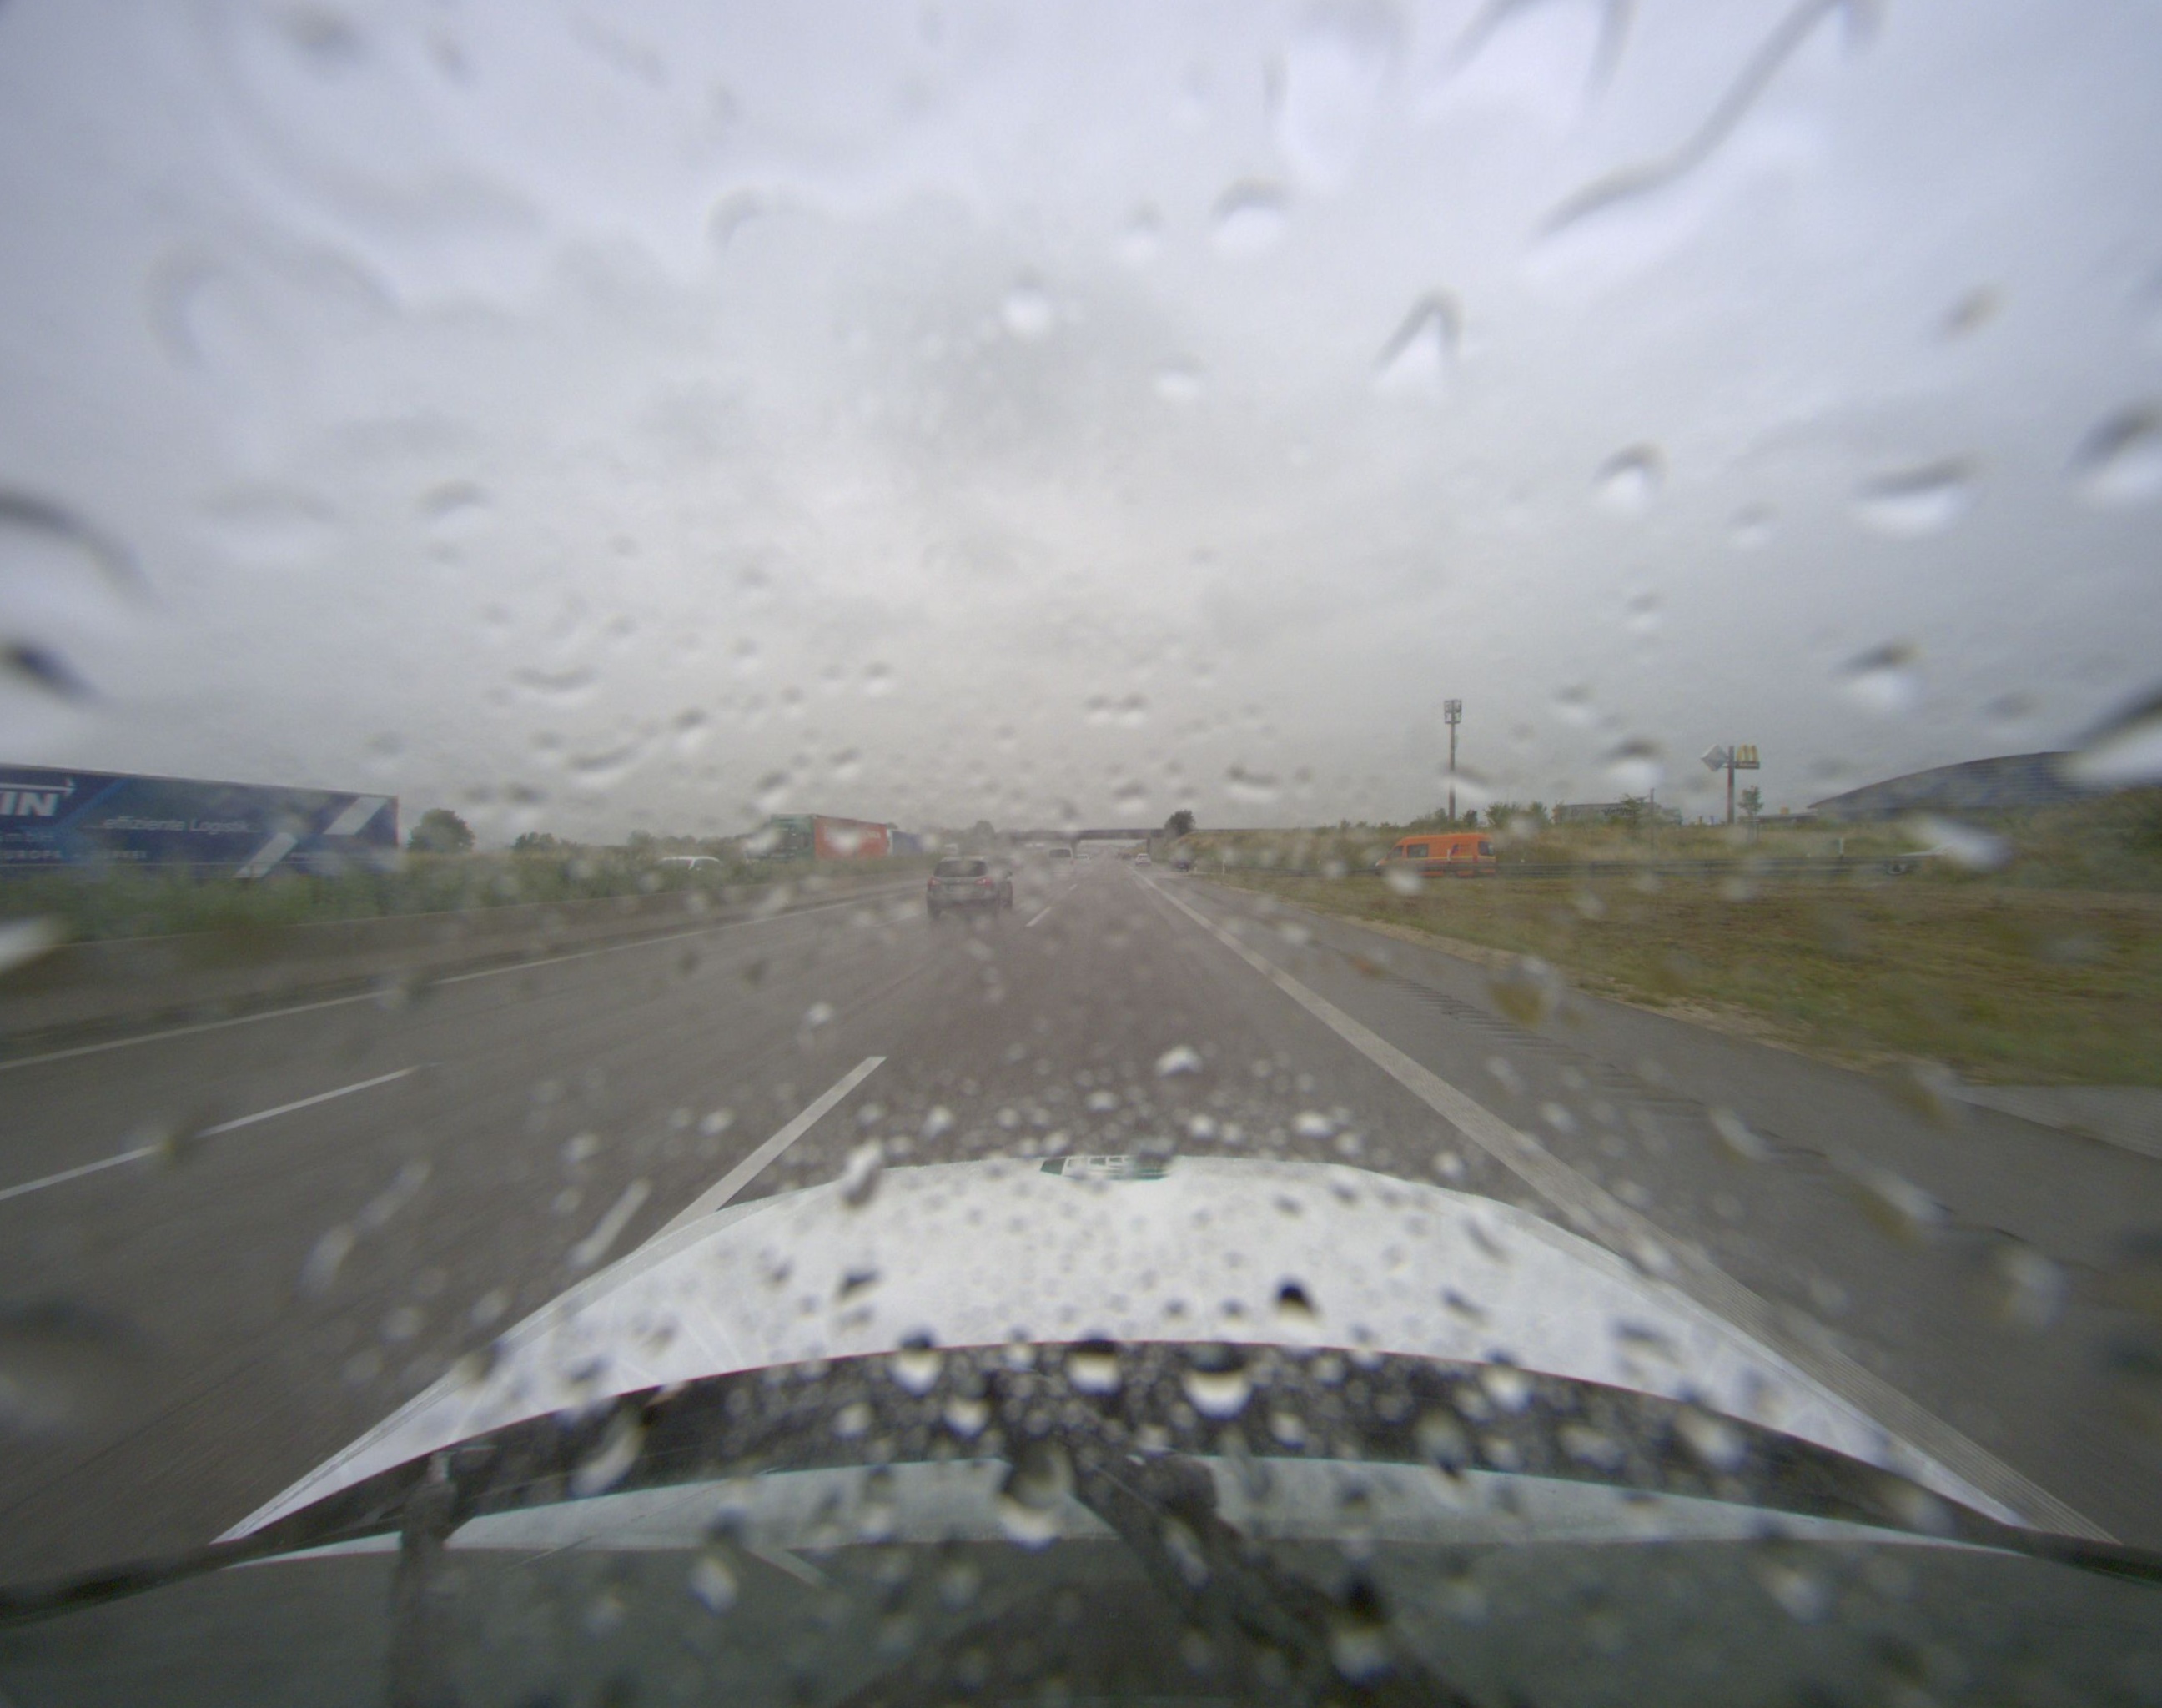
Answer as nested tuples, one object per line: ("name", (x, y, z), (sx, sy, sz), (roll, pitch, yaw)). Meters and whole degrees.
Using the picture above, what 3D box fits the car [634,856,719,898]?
("car", (-13.910, 0.774, 28.193), (1.391, 1.351, 3.089), (-1, -1, 0))

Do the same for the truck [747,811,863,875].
("truck", (-16.608, -0.602, 50.051), (3.253, 3.441, 10.135), (-1, 0, 2))

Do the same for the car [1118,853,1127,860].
("car", (9.350, 0.552, 185.245), (1.986, 1.464, 4.002), (-1, 0, 2))

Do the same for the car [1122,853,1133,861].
("car", (8.861, 0.537, 156.412), (1.795, 1.508, 3.999), (-1, 0, 0))

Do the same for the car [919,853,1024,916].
("car", (-2.843, 0.752, 22.261), (1.838, 1.513, 4.762), (-1, 0, 4))

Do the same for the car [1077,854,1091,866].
("car", (0.347, 0.673, 91.336), (1.462, 1.208, 2.993), (-2, -1, 3))

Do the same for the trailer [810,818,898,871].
("trailer", (-16.238, -0.626, 59.186), (3.244, 3.456, 9.448), (-2, 0, 2))

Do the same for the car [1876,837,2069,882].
("car", (32.100, 0.215, 29.562), (4.419, 1.485, 1.927), (-1, 0, 37))

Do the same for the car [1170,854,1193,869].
("car", (9.657, 0.700, 78.473), (1.726, 1.421, 3.657), (-1, 0, -1))

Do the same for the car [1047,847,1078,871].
("car", (-1.218, 0.349, 55.701), (1.890, 1.585, 4.002), (-1, -1, 2))

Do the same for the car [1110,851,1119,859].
("car", (8.805, 0.267, 212.838), (1.987, 2.101, 3.999), (-1, 0, -1))

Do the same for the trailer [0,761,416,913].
("trailer", (-25.790, -0.357, 22.293), (3.103, 3.418, 14.240), (-1, 0, 2))

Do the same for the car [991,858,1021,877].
("car", (-5.447, 0.979, 59.554), (1.606, 1.354, 4.003), (-1, -1, 3))

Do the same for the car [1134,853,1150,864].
("car", (7.692, 0.597, 102.913), (1.985, 1.266, 4.004), (-1, -1, 4))

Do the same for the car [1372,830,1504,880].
("car", (19.934, 0.033, 45.910), (2.075, 2.615, 6.815), (1, 0, -33))
